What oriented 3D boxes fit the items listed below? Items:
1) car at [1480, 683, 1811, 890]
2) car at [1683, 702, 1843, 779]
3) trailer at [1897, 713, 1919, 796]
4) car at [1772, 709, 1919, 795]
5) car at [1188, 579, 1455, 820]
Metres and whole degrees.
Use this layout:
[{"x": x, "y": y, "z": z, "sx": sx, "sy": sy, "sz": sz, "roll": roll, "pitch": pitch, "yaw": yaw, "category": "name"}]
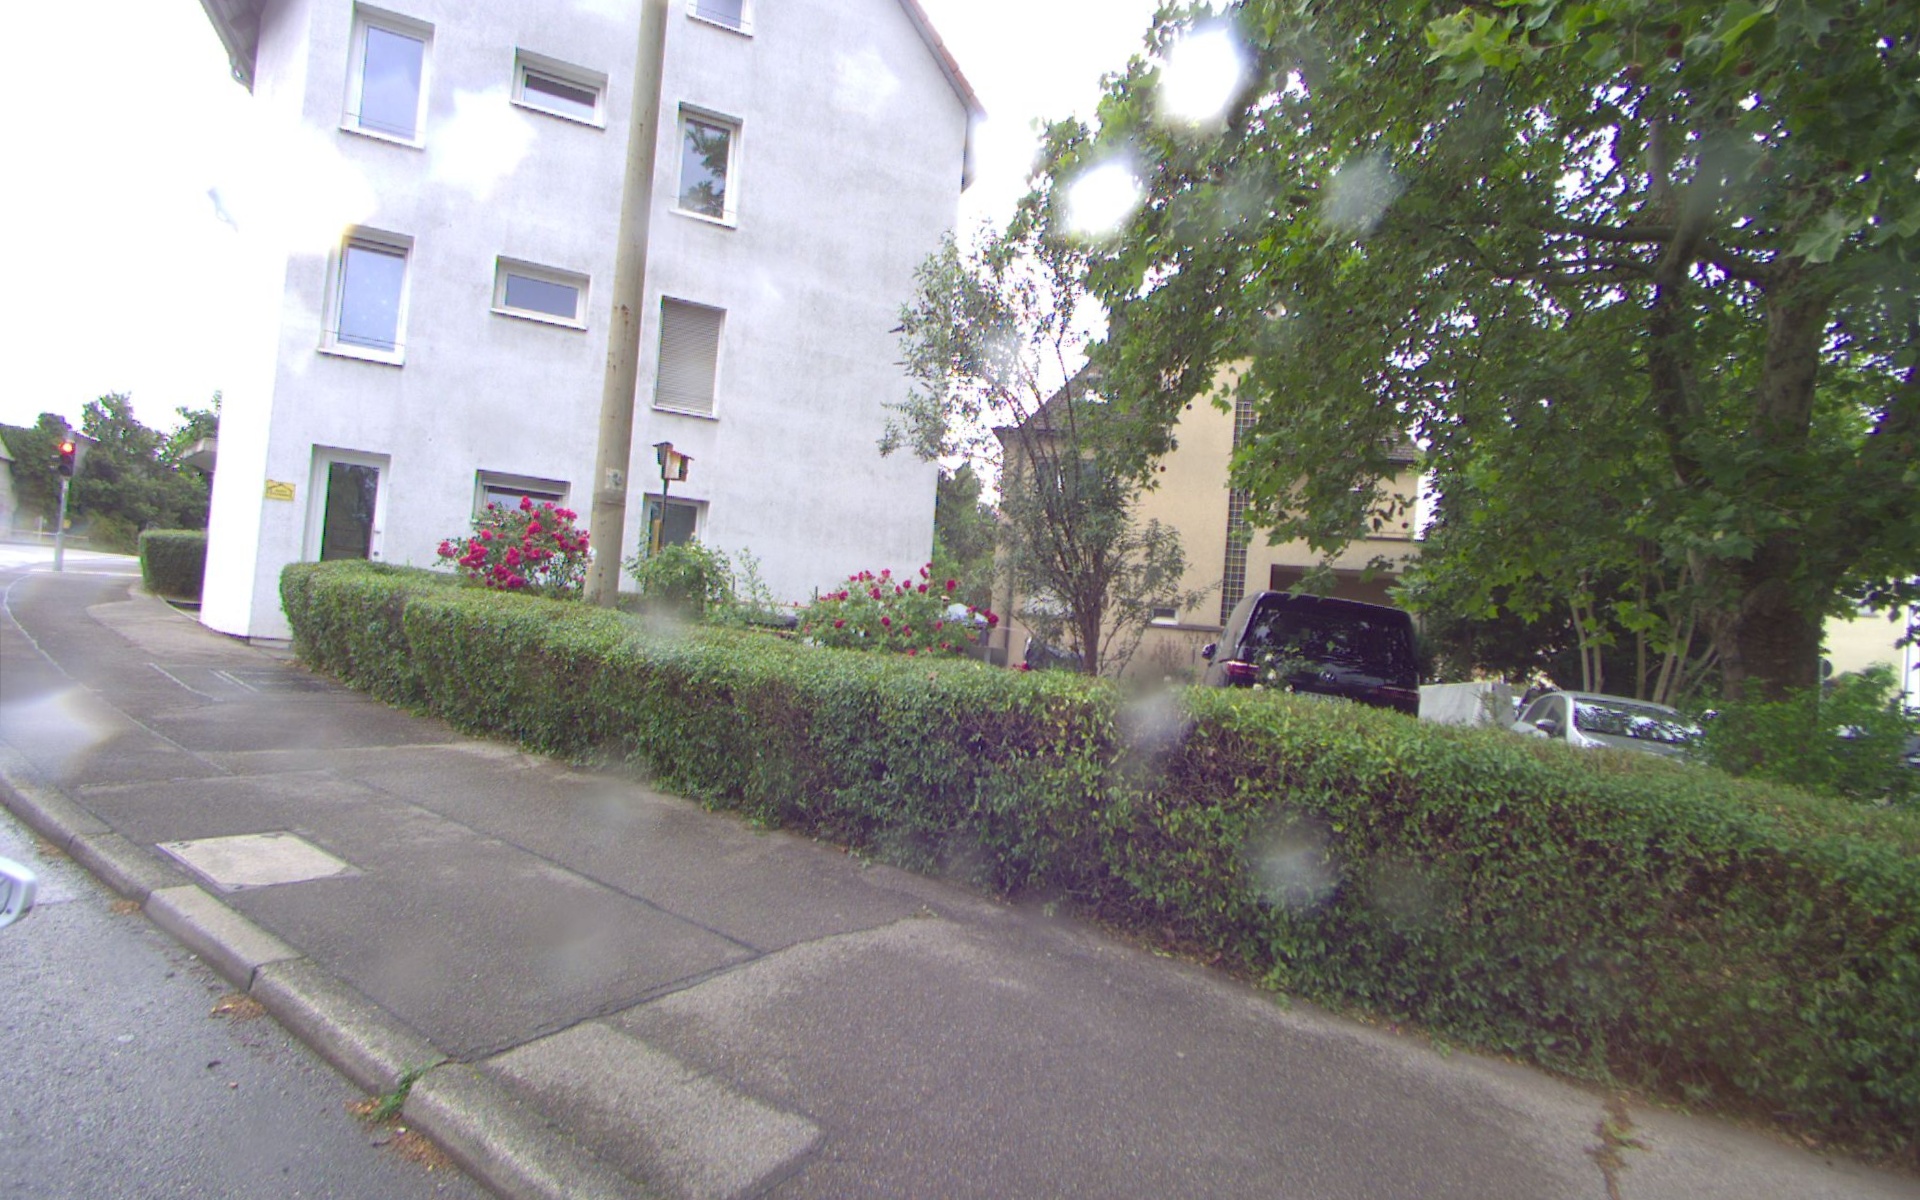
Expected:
[{"x": 7.379, "y": 1.877, "z": 11.352, "sx": 1.788, "sy": 1.599, "sz": 4.003, "roll": 6, "pitch": -2, "yaw": 16, "category": "car"}, {"x": 26.342, "y": 4.546, "z": 33.239, "sx": 1.962, "sy": 1.861, "sz": 4.584, "roll": 6, "pitch": -2, "yaw": 9, "category": "car"}, {"x": 24.713, "y": 3.917, "z": 23.980, "sx": 1.640, "sy": 2.037, "sz": 3.494, "roll": 6, "pitch": -1, "yaw": 8, "category": "trailer"}, {"x": 25.257, "y": 4.205, "z": 27.993, "sx": 1.962, "sy": 1.861, "sz": 4.584, "roll": 6, "pitch": -2, "yaw": 9, "category": "car"}, {"x": 3.751, "y": 0.989, "z": 11.309, "sx": 1.962, "sy": 1.955, "sz": 4.419, "roll": 6, "pitch": -1, "yaw": 11, "category": "car"}]
